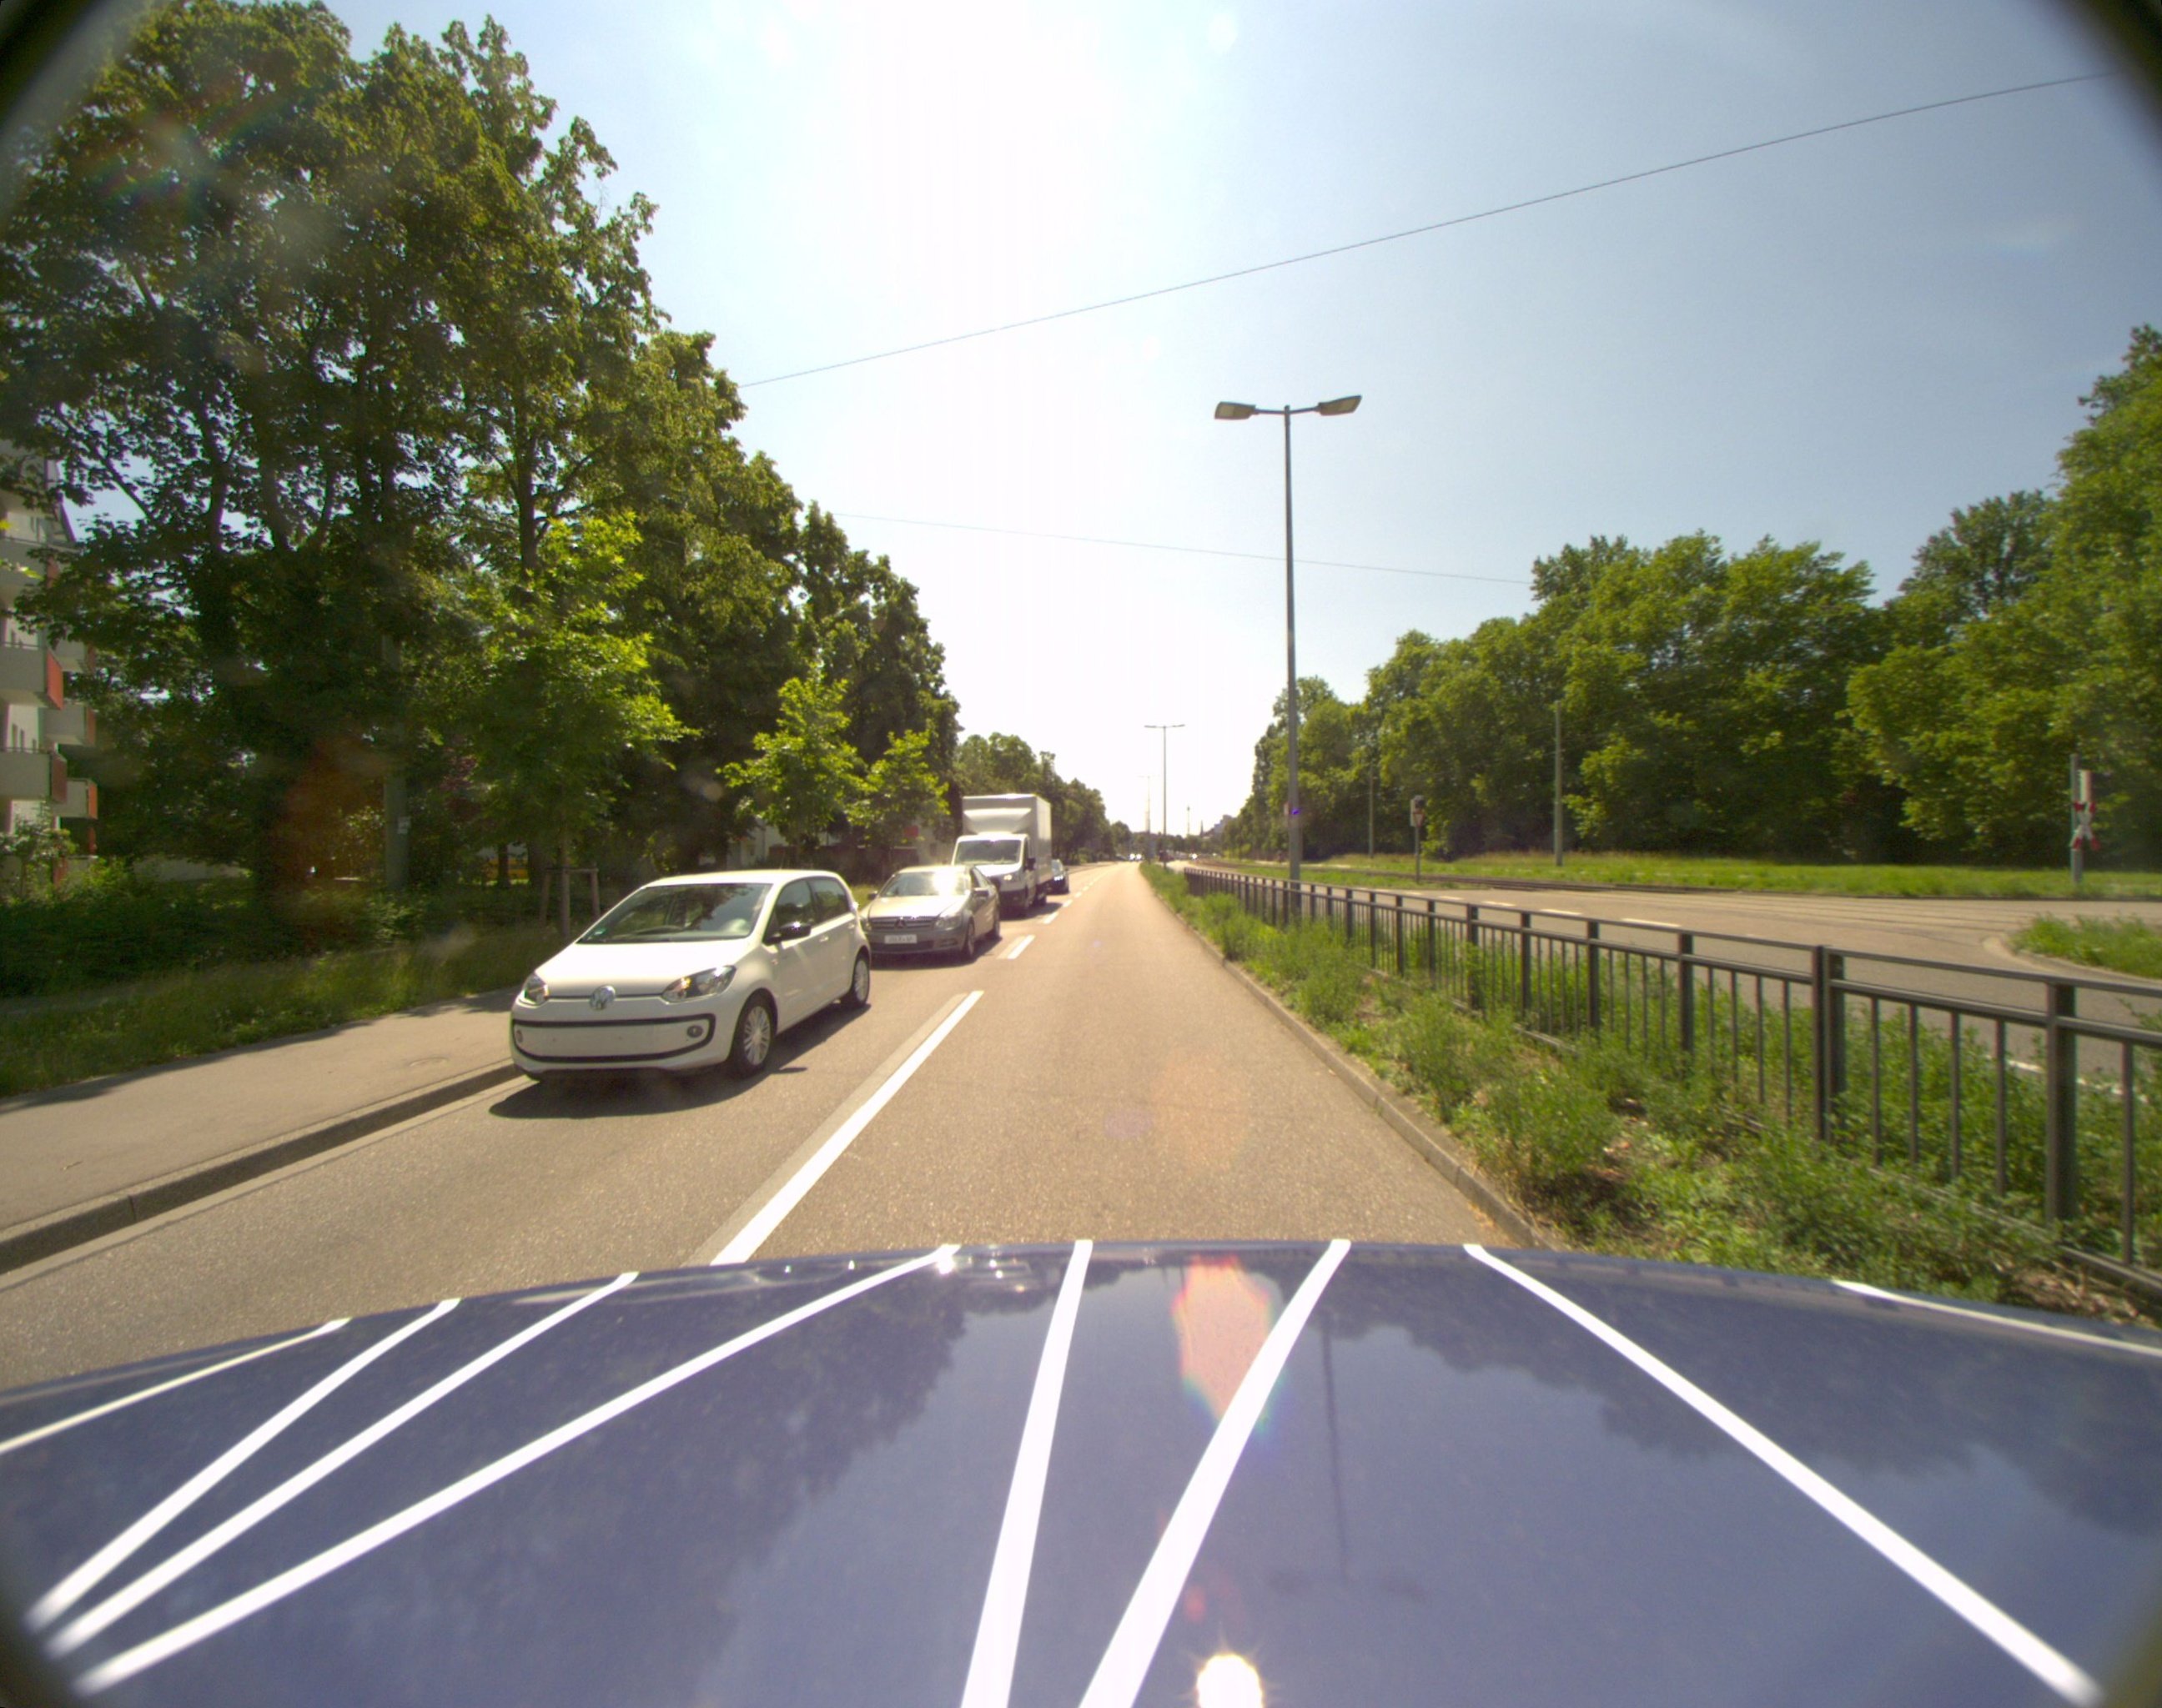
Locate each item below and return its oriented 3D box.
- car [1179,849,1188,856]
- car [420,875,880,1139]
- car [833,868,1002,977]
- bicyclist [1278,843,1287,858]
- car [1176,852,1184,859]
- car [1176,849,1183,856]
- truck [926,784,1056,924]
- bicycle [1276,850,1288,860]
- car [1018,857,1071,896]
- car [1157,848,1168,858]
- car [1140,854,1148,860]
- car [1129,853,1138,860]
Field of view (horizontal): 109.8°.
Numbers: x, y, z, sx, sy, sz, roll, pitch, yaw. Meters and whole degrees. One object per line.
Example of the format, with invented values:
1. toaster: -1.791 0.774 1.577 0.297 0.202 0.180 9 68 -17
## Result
1. car: 27.038 -0.503 200.860 1.998 1.847 4.001 -1 0 5
2. car: -3.121 0.987 6.513 1.730 1.470 3.771 -1 0 1
3. car: -2.469 0.985 12.535 1.840 1.400 4.087 -1 0 1
4. bicyclist: 25.150 -0.464 94.955 0.862 1.796 1.118 -1 1 1
5. car: 27.047 0.307 207.314 1.998 1.847 4.001 -1 0 5
6. car: 31.826 -0.550 244.910 1.997 2.002 4.001 -2 1 7
7. truck: -2.294 -0.009 22.273 2.433 3.326 7.923 -1 0 3
8. bicycle: 25.135 0.106 95.018 0.862 1.155 2.787 -1 0 1
9. car: -1.490 0.910 32.266 1.998 1.499 4.000 -1 0 1
10. car: 16.521 -0.211 153.936 1.997 1.847 4.002 -1 0 7
11. car: 16.938 0.728 204.753 1.997 1.499 4.002 -1 0 7
12. car: 12.376 0.610 178.244 1.997 1.499 4.002 -1 0 7
